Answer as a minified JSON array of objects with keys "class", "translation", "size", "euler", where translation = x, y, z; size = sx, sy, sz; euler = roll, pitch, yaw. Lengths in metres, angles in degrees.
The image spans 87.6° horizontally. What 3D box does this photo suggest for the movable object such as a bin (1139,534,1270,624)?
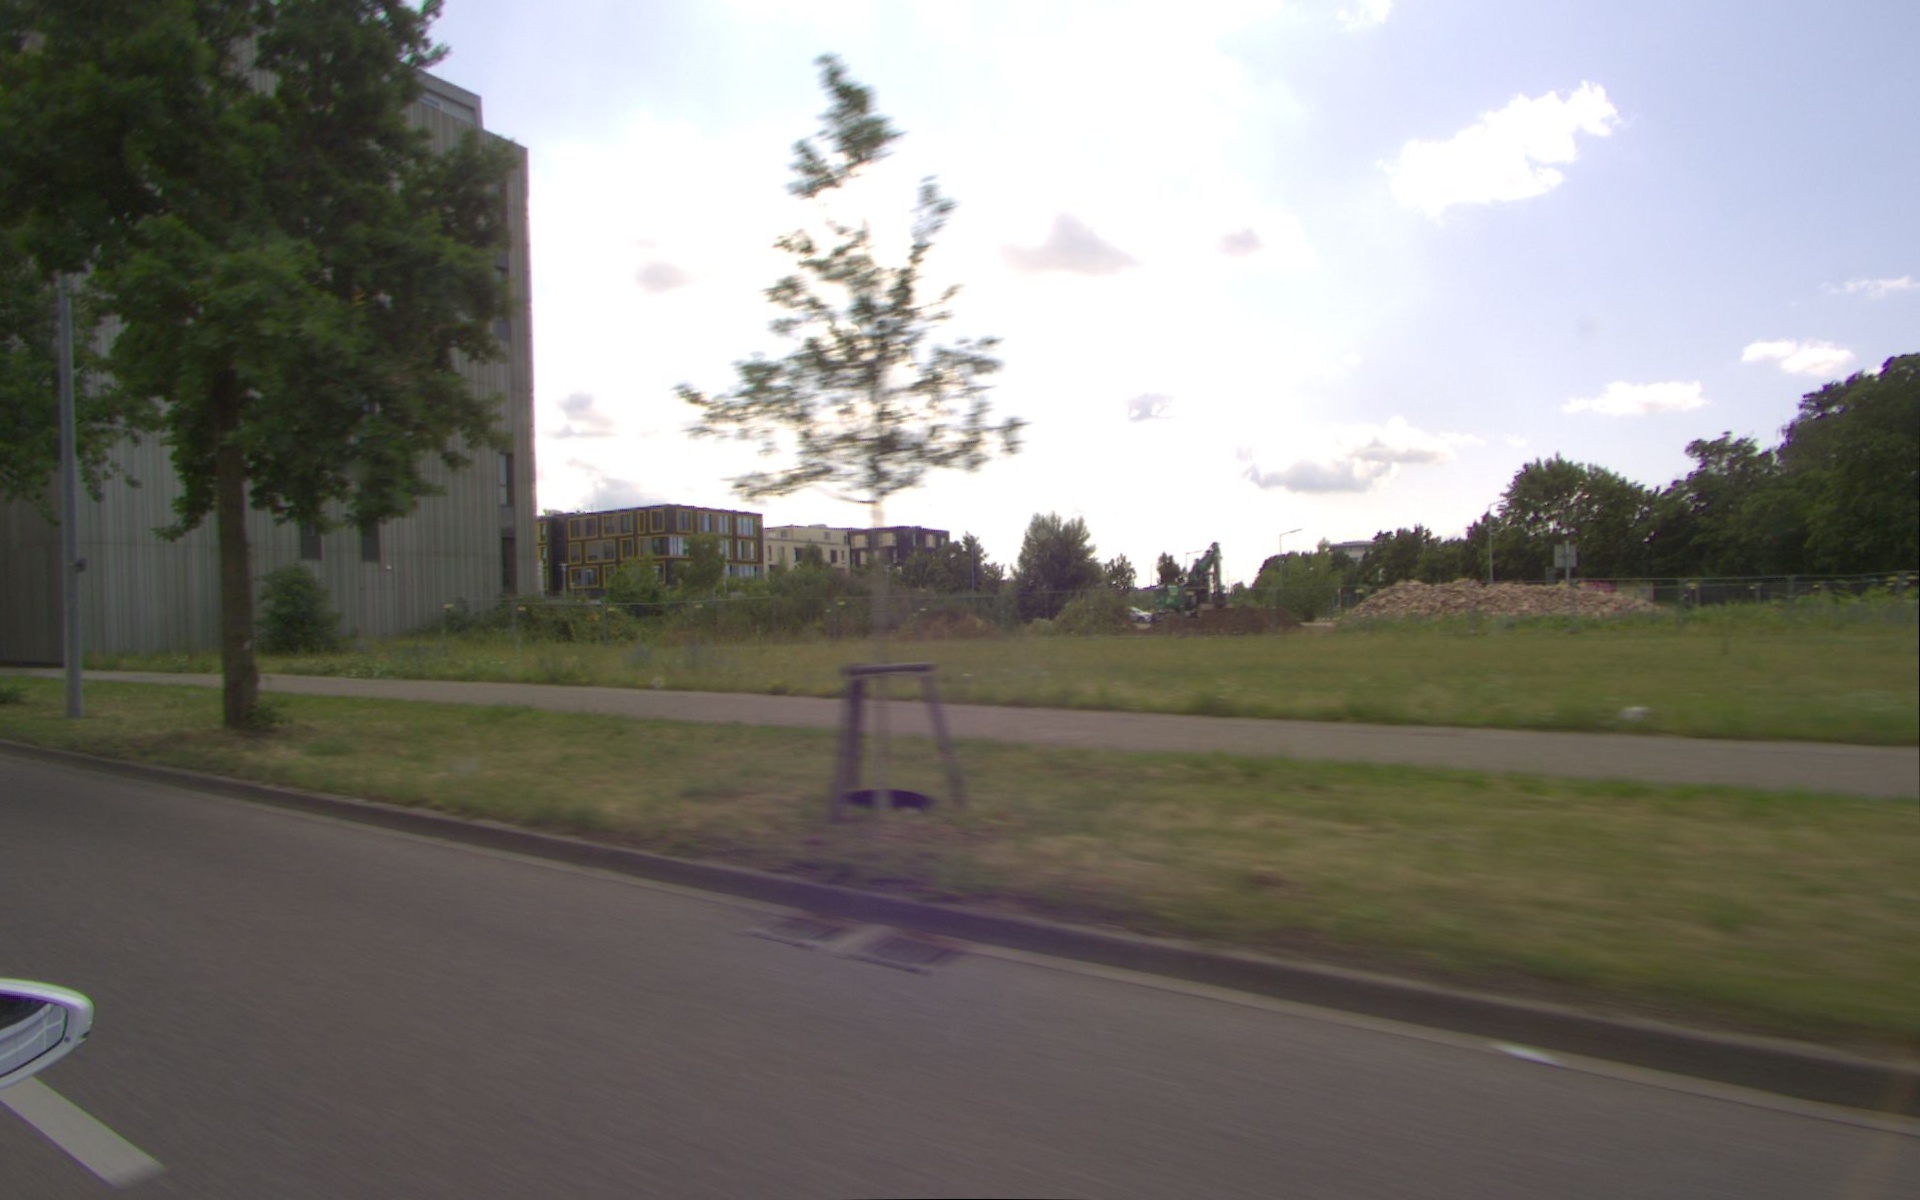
[{"class":"movable object such as a bin","translation":[11.940,-0.881,49.737],"size":[2.993,3.900,7.612],"euler":[-1,-3,-14]}]
